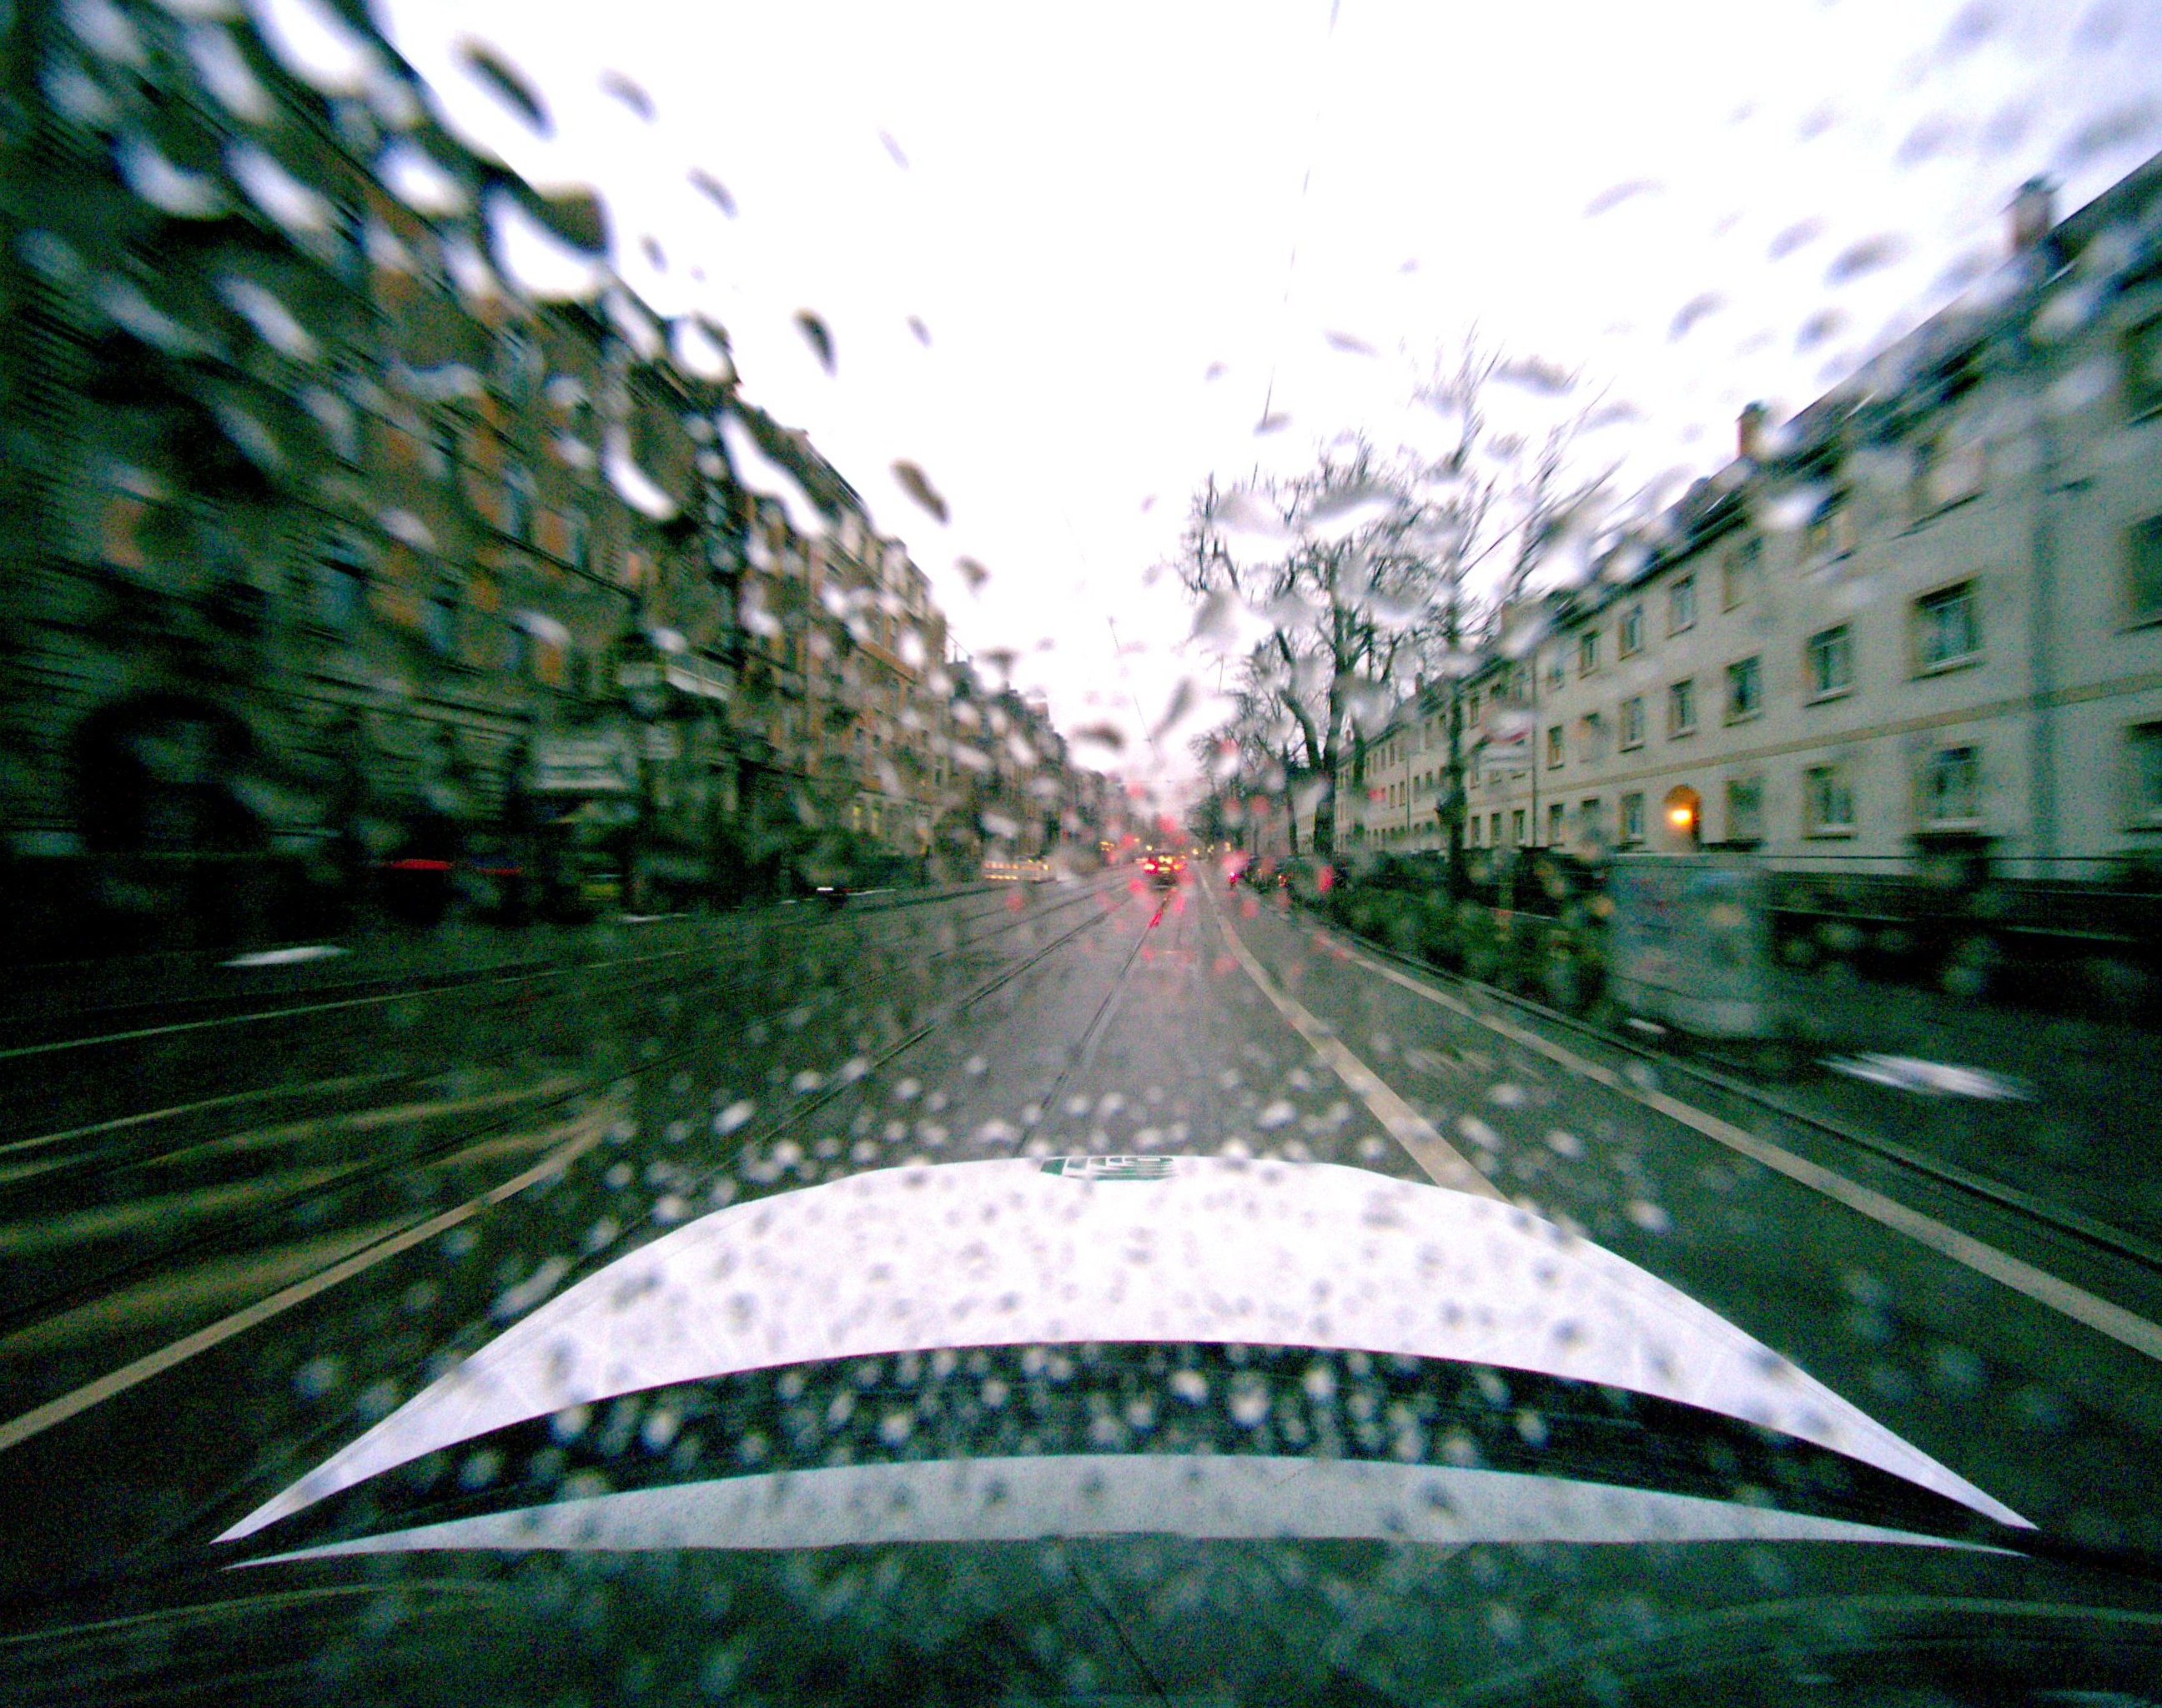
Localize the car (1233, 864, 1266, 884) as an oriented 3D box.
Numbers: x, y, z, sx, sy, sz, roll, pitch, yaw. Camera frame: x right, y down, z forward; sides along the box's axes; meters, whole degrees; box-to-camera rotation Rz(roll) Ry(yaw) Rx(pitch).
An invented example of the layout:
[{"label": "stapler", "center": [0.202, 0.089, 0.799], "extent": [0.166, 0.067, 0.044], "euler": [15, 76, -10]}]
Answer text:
[{"label": "car", "center": [12.476, 1.432, 60.491], "extent": [1.871, 1.420, 4.348], "euler": [0, -1, 4]}]

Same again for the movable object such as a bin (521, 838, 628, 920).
[{"label": "movable object such as a bin", "center": [-10.449, 0.499, 16.849], "extent": [1.236, 1.586, 1.312], "euler": [2, -1, 12]}]

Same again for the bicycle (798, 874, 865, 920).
[{"label": "bicycle", "center": [-5.761, 0.975, 18.941], "extent": [0.674, 0.972, 1.938], "euler": [2, -1, 9]}]

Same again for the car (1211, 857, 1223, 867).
[{"label": "car", "center": [22.406, 1.318, 134.161], "extent": [1.775, 1.509, 4.117], "euler": [1, -1, 8]}]

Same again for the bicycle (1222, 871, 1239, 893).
[{"label": "bicycle", "center": [7.239, 1.334, 39.513], "extent": [0.727, 1.007, 1.768], "euler": [2, -1, 9]}]

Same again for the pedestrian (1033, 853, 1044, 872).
[{"label": "pedestrian", "center": [-4.009, 0.845, 77.025], "extent": [0.722, 1.773, 0.763], "euler": [2, -1, -28]}]

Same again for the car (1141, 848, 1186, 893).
[{"label": "car", "center": [3.871, 0.742, 37.594], "extent": [1.792, 1.870, 4.026], "euler": [4, 0, 8]}]

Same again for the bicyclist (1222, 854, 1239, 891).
[{"label": "bicyclist", "center": [7.221, 0.875, 39.430], "extent": [0.726, 1.736, 0.767], "euler": [2, -1, 9]}]

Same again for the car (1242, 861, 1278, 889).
[{"label": "car", "center": [10.922, 1.263, 49.845], "extent": [1.894, 1.610, 4.572], "euler": [1, -1, 9]}]

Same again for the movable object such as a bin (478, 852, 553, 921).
[{"label": "movable object such as a bin", "center": [-11.075, 0.616, 15.977], "extent": [0.891, 1.292, 0.747], "euler": [2, -1, 5]}]

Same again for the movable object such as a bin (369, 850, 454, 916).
[{"label": "movable object such as a bin", "center": [-13.359, 0.564, 16.266], "extent": [1.005, 1.244, 0.774], "euler": [2, -1, 5]}]

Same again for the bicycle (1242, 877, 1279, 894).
[{"label": "bicycle", "center": [10.168, 1.760, 46.176], "extent": [1.998, 0.916, 0.466], "euler": [0, -1, 16]}]

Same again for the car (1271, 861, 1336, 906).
[{"label": "car", "center": [8.180, 1.035, 30.261], "extent": [1.776, 1.509, 3.995], "euler": [1, -1, 7]}]

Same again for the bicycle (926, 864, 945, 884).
[{"label": "bicycle", "center": [-6.837, 0.943, 38.414], "extent": [0.262, 0.915, 1.689], "euler": [7, 0, 8]}]

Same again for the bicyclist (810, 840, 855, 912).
[{"label": "bicyclist", "center": [-5.752, 0.494, 18.891], "extent": [0.680, 1.616, 0.767], "euler": [2, -1, 9]}]

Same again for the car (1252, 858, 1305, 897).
[{"label": "car", "center": [9.335, 1.078, 38.890], "extent": [1.895, 1.727, 4.912], "euler": [1, -1, 7]}]

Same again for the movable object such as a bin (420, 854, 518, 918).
[{"label": "movable object such as a bin", "center": [-12.139, 0.621, 16.190], "extent": [1.179, 1.207, 0.947], "euler": [2, -1, 5]}]
